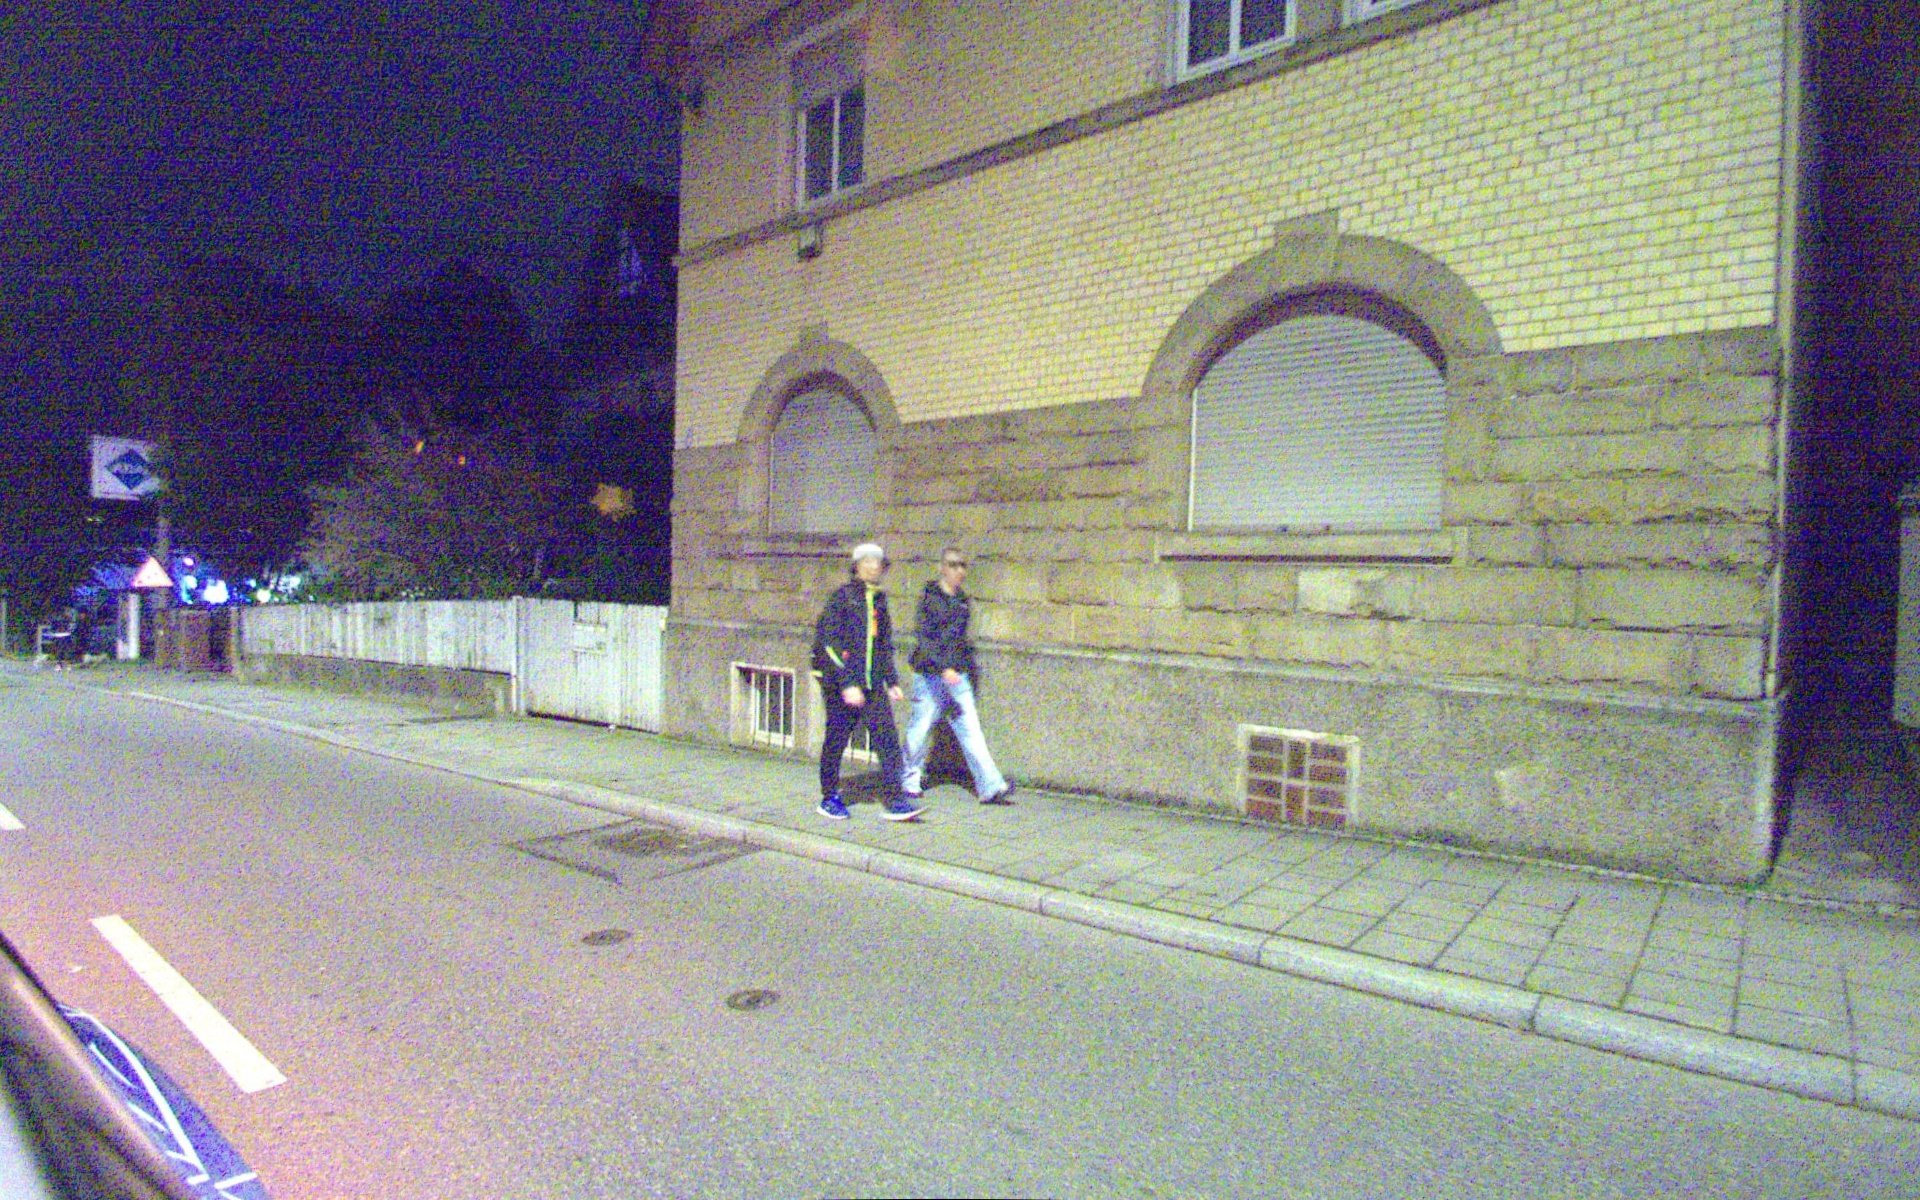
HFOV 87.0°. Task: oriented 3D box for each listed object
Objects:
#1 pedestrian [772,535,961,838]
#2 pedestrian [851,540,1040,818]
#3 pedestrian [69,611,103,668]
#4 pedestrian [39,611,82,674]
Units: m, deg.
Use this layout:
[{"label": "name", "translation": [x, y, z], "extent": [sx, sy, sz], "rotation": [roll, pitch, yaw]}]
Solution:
[{"label": "pedestrian", "translation": [-0.605, 0.506, 6.469], "extent": [1.028, 1.758, 0.668], "rotation": [-1, 0, 40]}, {"label": "pedestrian", "translation": [-0.109, 0.502, 7.046], "extent": [1.102, 1.758, 0.734], "rotation": [-1, 0, 40]}, {"label": "pedestrian", "translation": [-27.208, 1.221, 31.513], "extent": [0.865, 1.739, 0.662], "rotation": [-2, -1, 38]}, {"label": "pedestrian", "translation": [-24.875, 1.162, 27.979], "extent": [1.102, 1.684, 0.734], "rotation": [-1, 0, 40]}]
